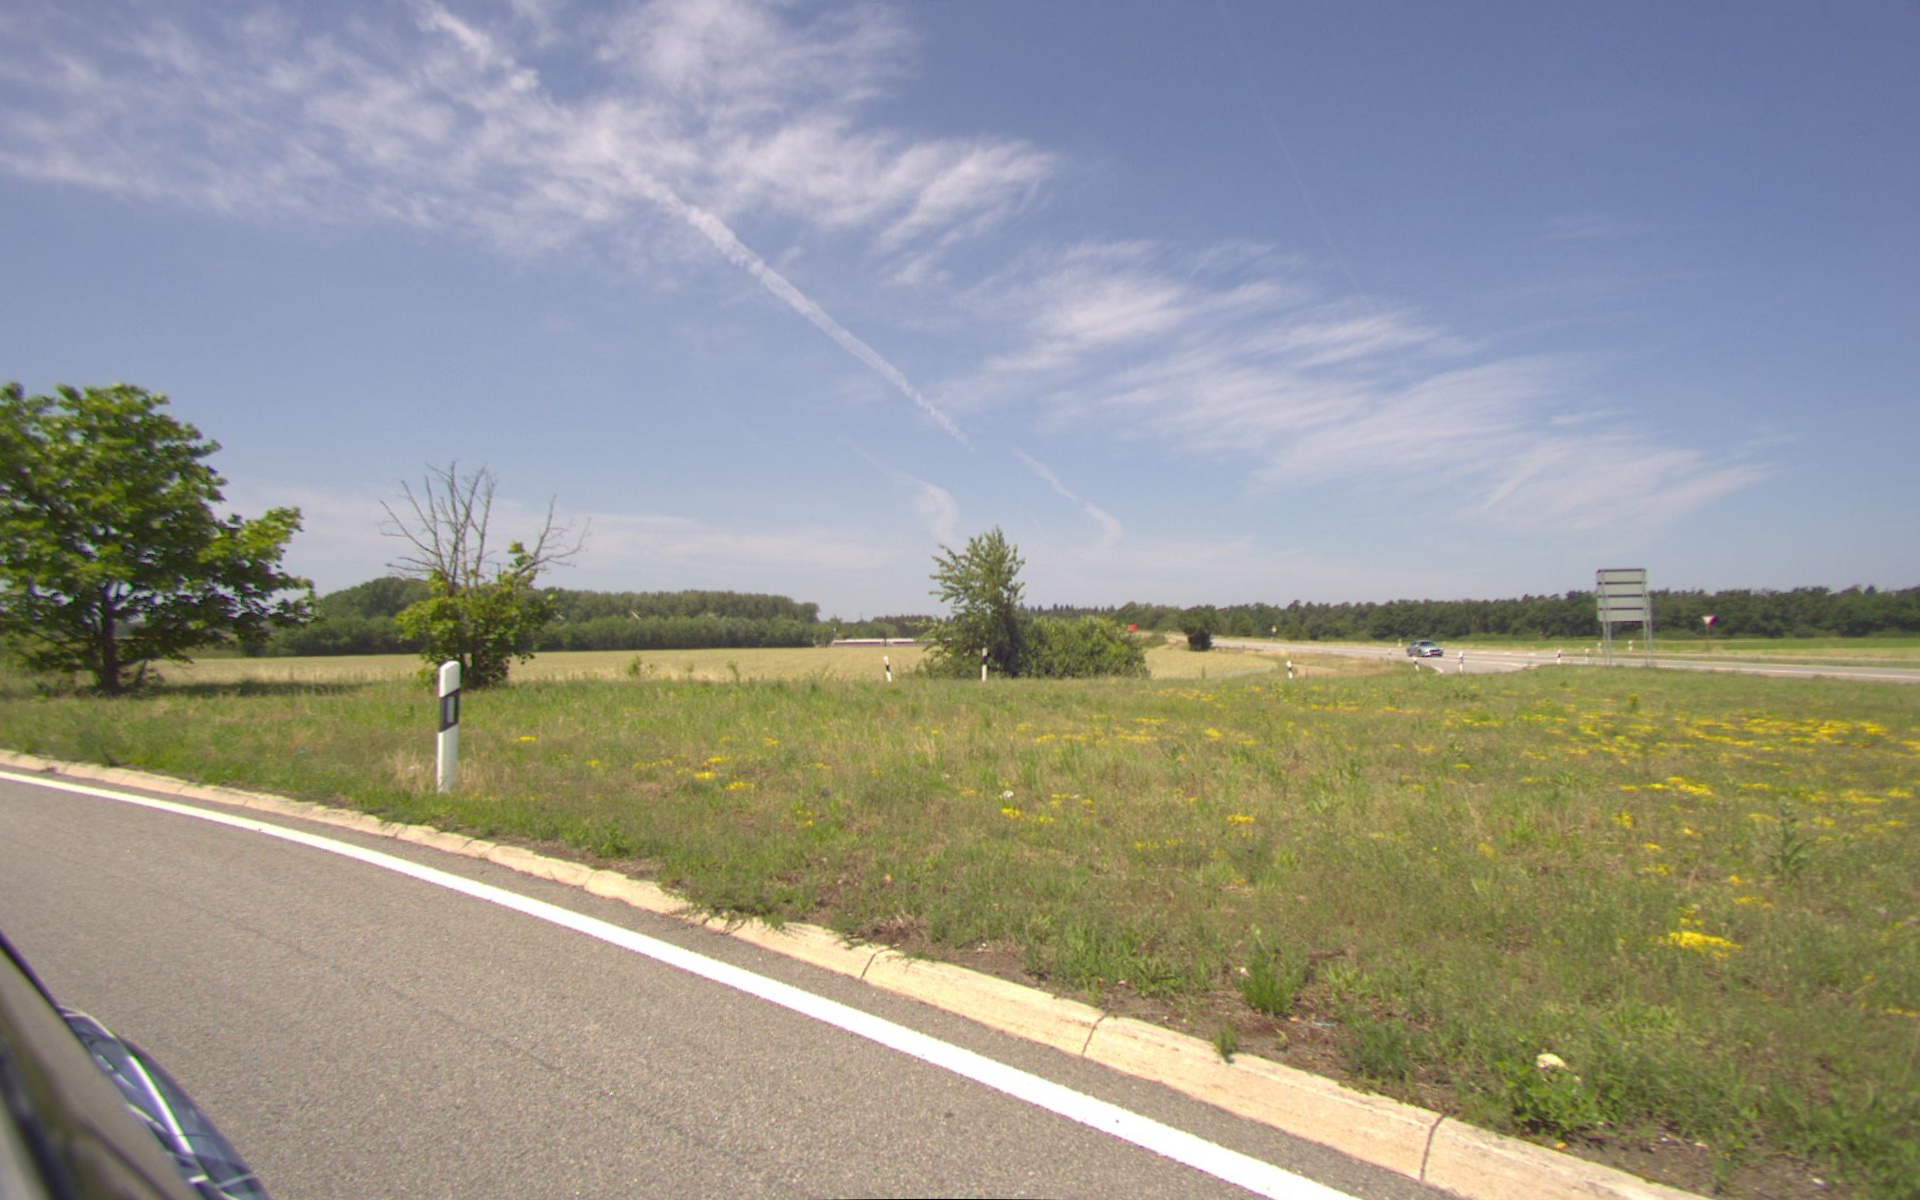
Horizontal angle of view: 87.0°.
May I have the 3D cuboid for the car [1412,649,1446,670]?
[{"bbox_3d":[41.466,5.257,89.543,1.707,1.719,3.418,-1,-2,7],"label":"car"}]
